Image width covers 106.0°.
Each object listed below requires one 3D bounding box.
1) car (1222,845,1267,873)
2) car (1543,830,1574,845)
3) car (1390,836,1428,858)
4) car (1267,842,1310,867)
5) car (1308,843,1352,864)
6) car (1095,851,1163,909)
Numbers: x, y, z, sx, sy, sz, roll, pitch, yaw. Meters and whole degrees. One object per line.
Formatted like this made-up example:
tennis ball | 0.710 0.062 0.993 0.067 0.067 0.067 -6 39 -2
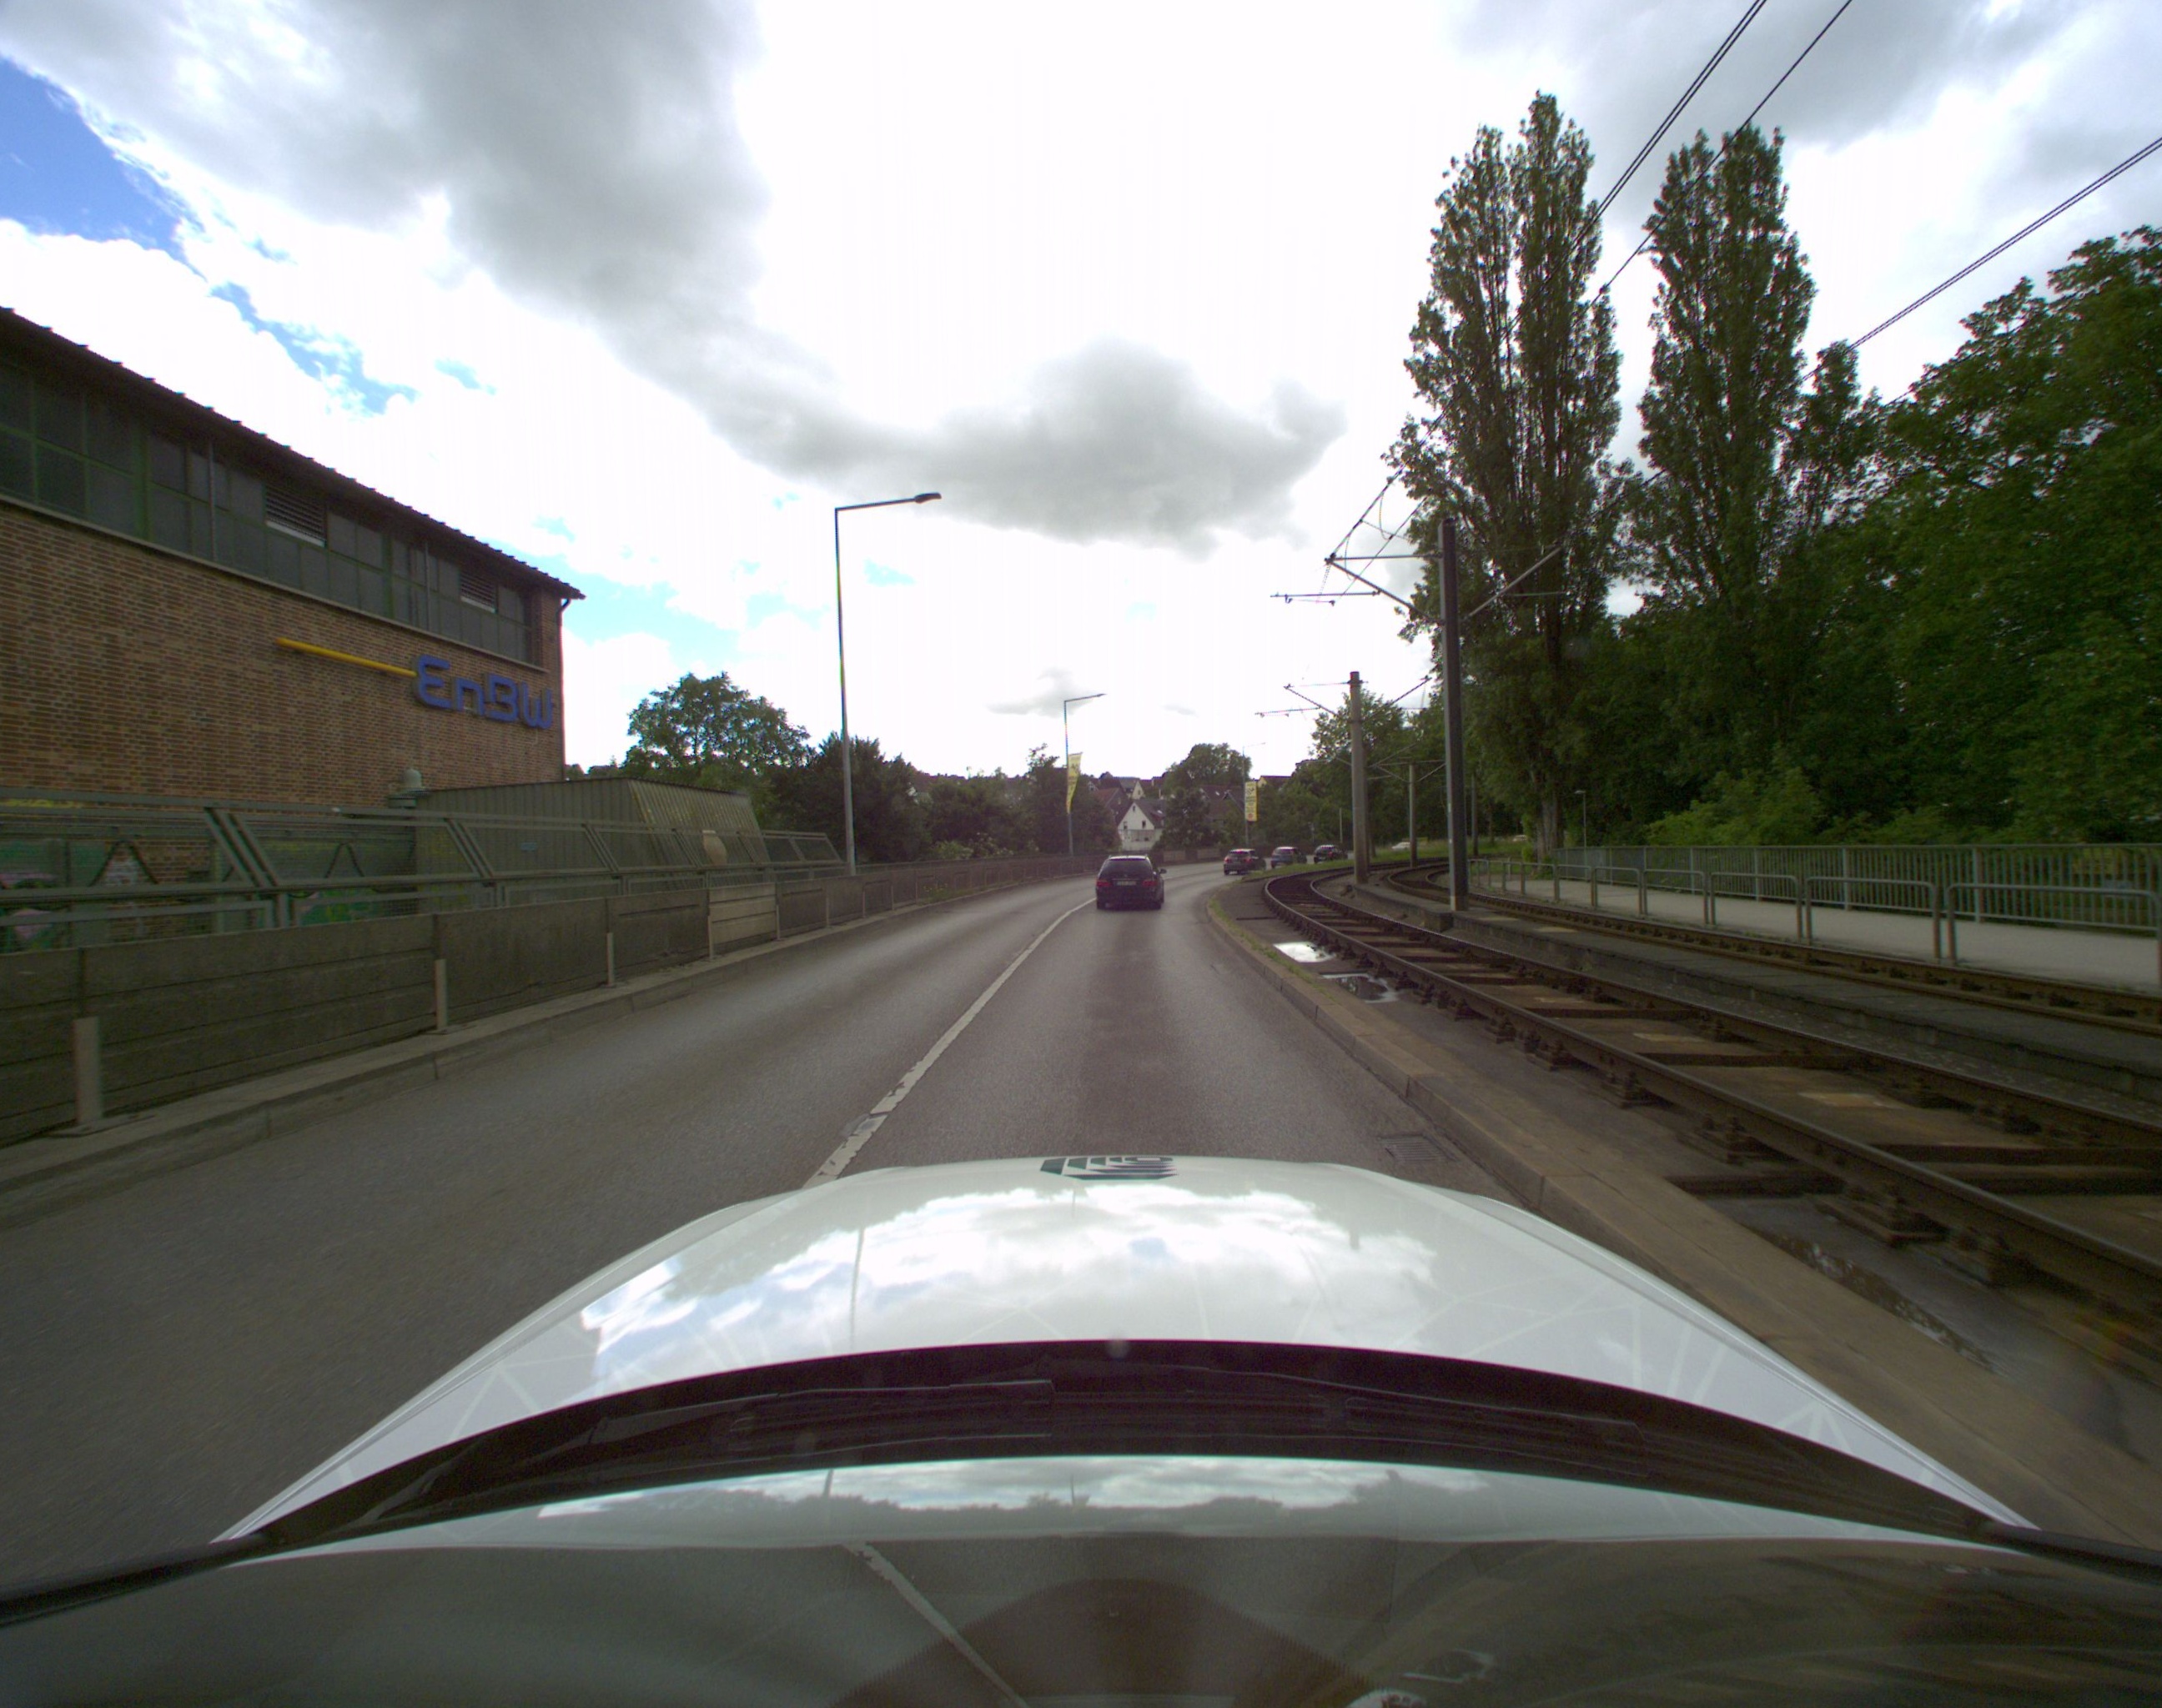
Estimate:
car | 10.051 0.270 49.801 1.754 1.555 4.265 -2 0 24
car | 57.832 -1.960 98.635 4.020 1.552 1.802 -5 1 -38
car | 30.953 -0.671 76.841 4.012 1.711 1.781 -5 1 -44
car | 14.690 0.020 57.539 1.775 1.555 4.413 -3 0 30
car | 19.613 -0.054 64.025 1.753 1.555 4.267 -2 0 39
car | 1.487 0.681 23.709 1.750 1.515 4.449 -1 0 6
